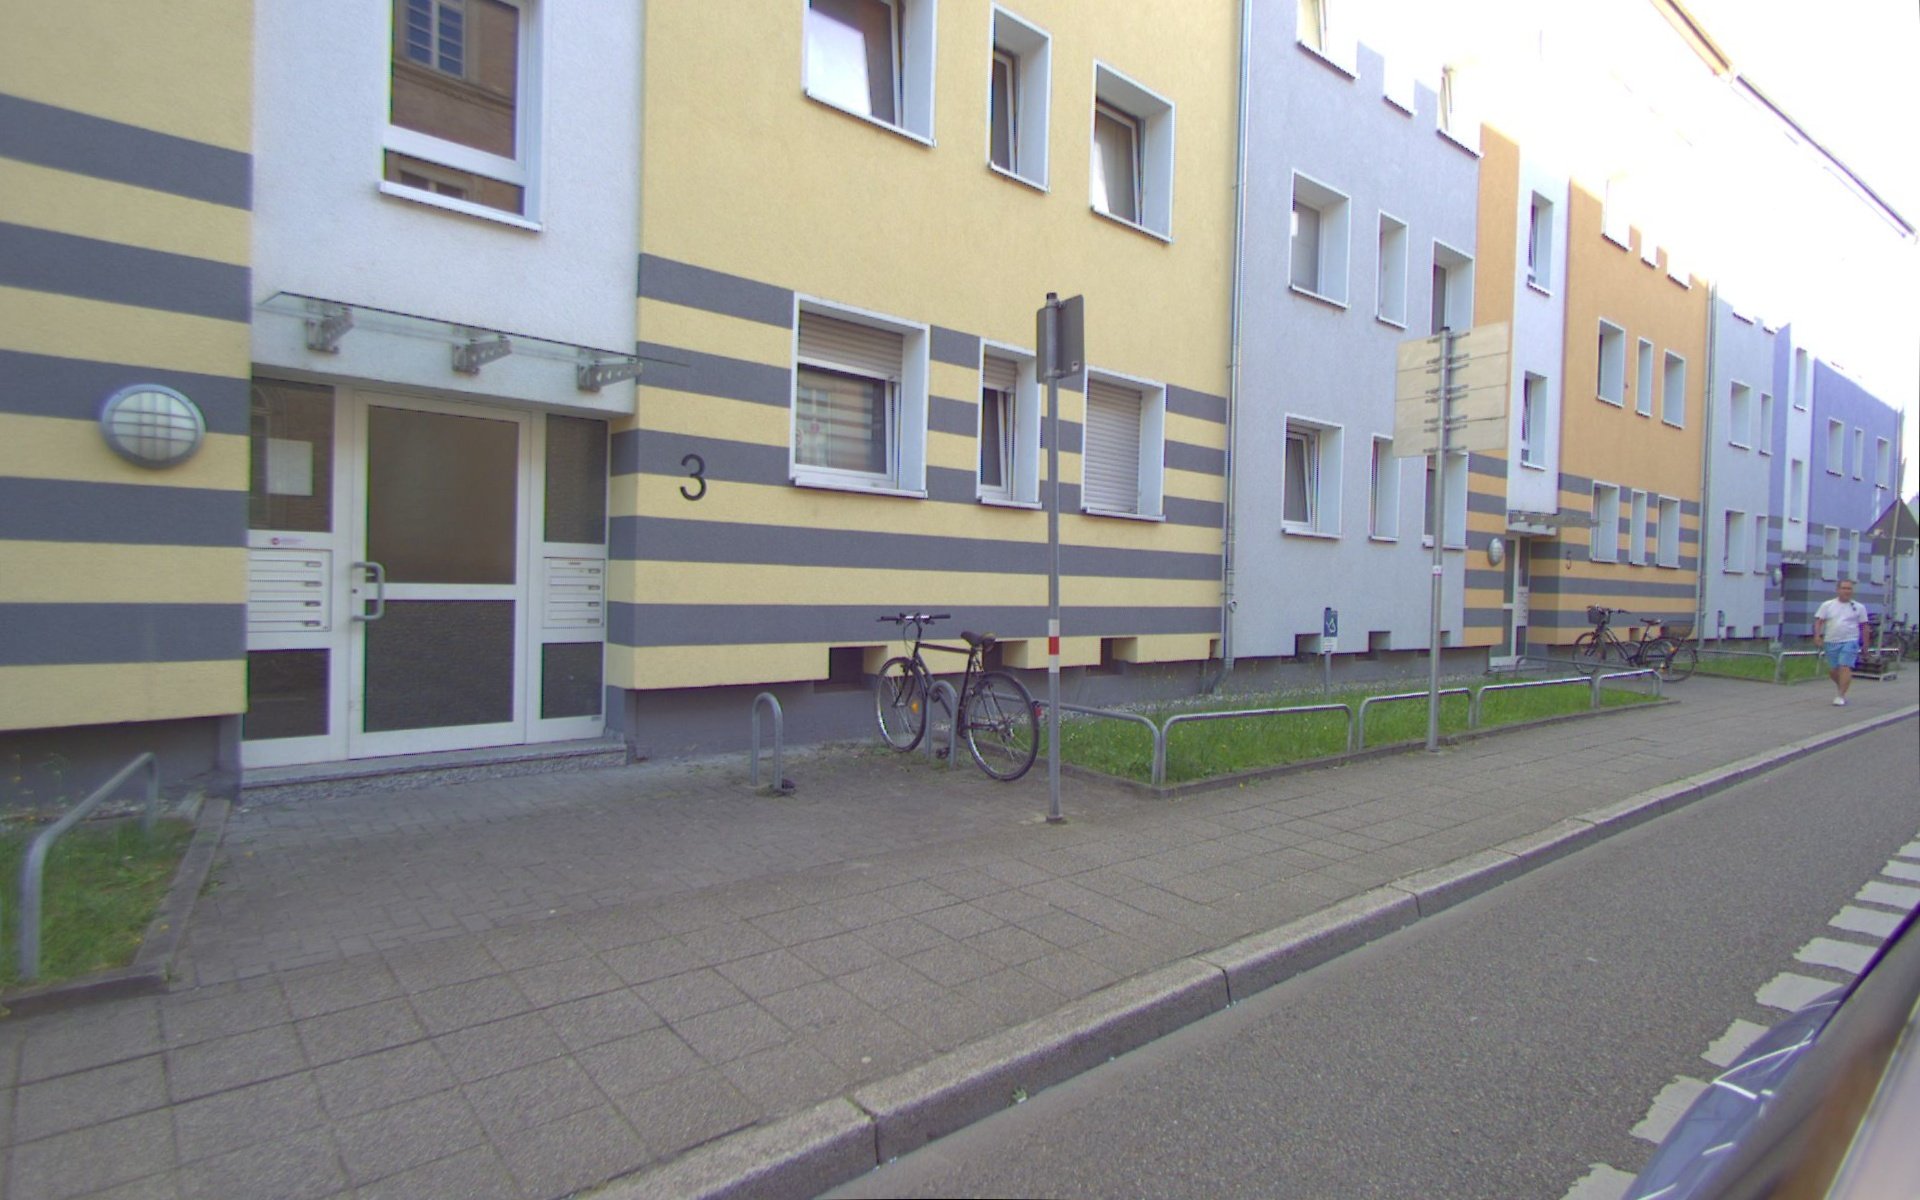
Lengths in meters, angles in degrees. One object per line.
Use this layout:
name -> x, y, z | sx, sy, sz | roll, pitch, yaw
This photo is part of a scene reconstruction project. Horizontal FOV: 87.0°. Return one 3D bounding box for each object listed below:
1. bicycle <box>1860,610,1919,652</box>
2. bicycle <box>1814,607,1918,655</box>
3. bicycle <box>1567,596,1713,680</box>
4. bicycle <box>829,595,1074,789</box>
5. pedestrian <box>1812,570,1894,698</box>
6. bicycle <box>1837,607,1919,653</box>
bicycle -> 24.063, 0.794, 25.612 | 0.572, 0.950, 1.779 | 1, 3, -33
bicycle -> 22.197, 0.734, 24.834 | 0.572, 1.007, 1.779 | 1, 3, -33
bicycle -> 10.699, 0.569, 15.976 | 0.574, 1.138, 1.775 | 0, 4, -42
bicycle -> -0.113, 0.555, 6.953 | 1.773, 1.061, 0.574 | 5, 4, 45
pedestrian -> 12.339, 0.449, 13.984 | 0.819, 1.692, 0.644 | 1, 2, -39
bicycle -> 23.360, 0.738, 25.504 | 0.572, 1.007, 1.779 | 1, 3, -33
